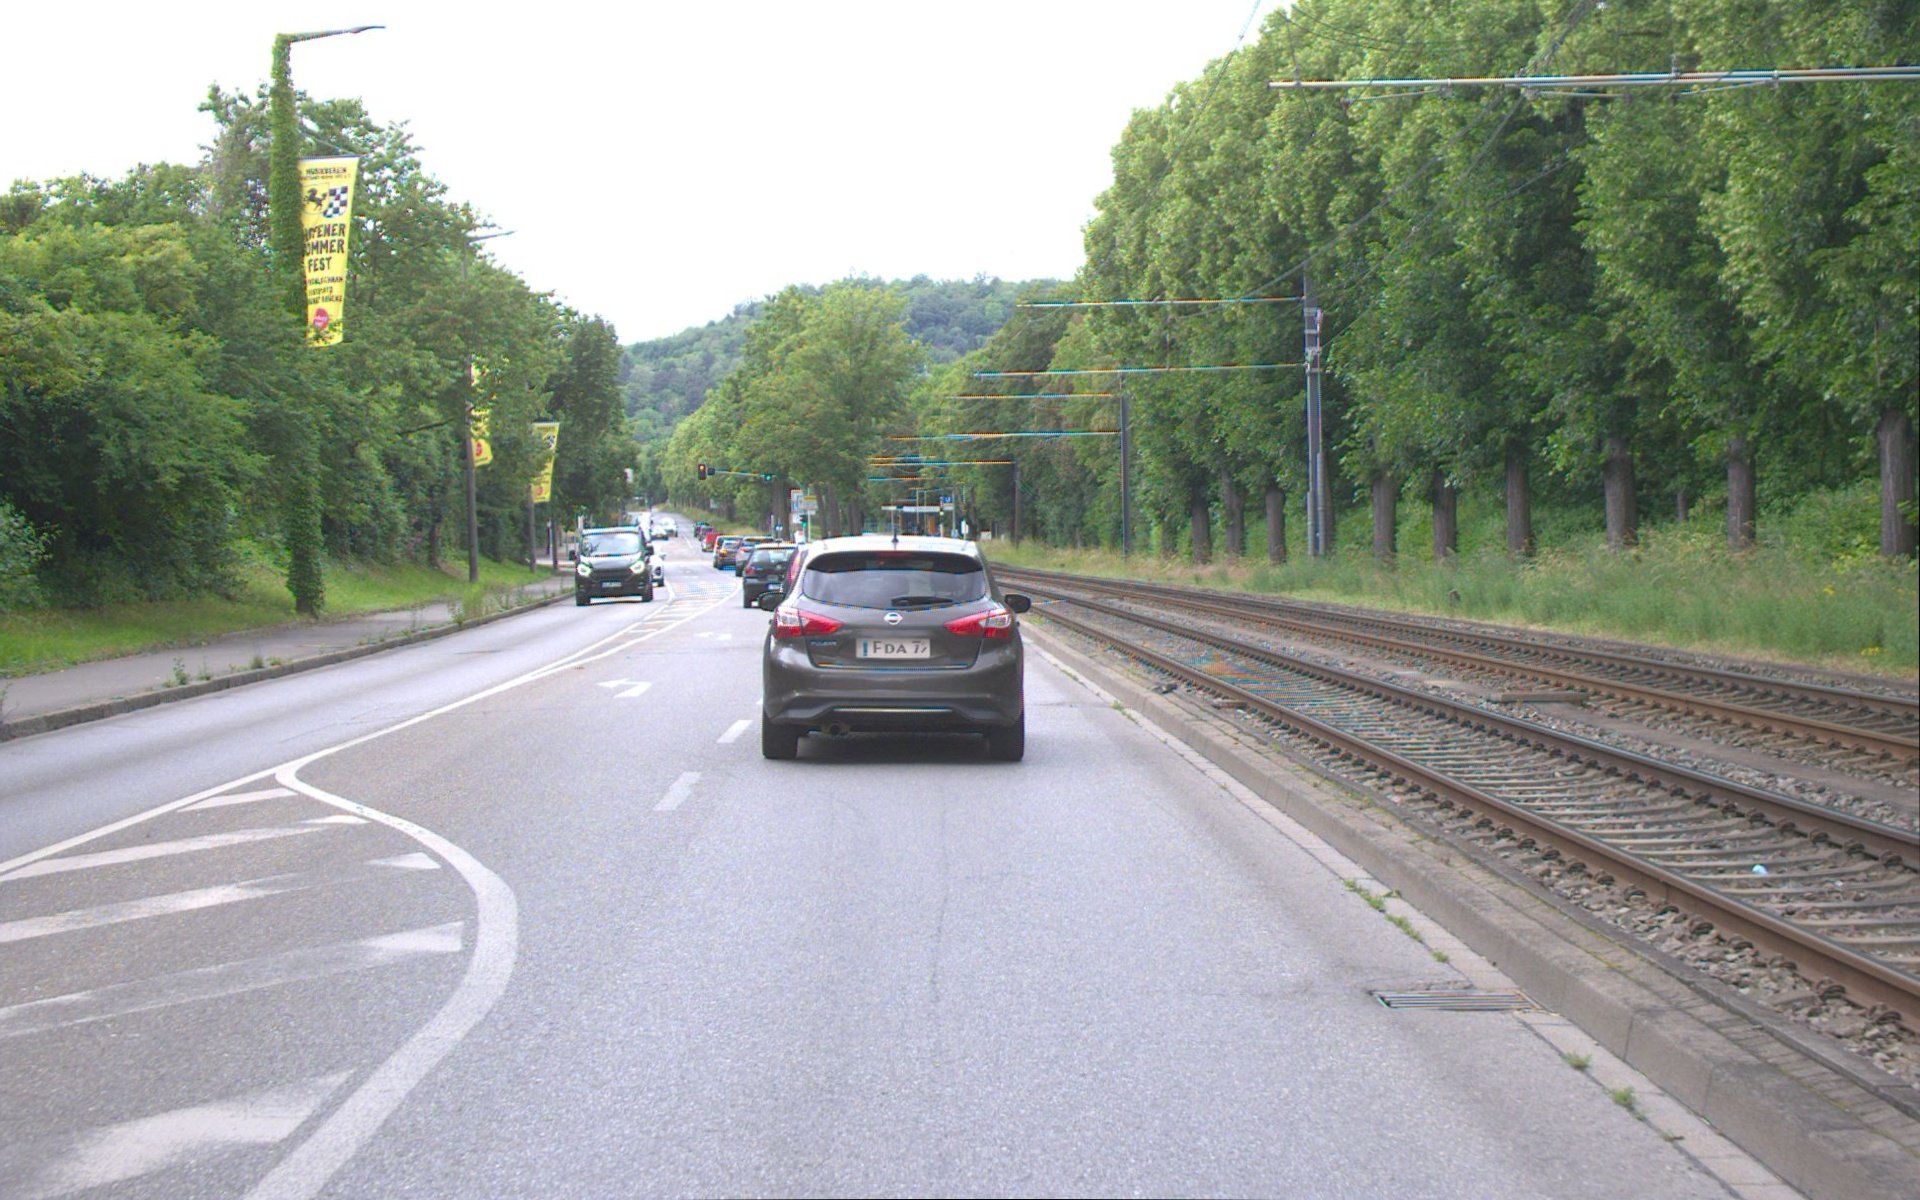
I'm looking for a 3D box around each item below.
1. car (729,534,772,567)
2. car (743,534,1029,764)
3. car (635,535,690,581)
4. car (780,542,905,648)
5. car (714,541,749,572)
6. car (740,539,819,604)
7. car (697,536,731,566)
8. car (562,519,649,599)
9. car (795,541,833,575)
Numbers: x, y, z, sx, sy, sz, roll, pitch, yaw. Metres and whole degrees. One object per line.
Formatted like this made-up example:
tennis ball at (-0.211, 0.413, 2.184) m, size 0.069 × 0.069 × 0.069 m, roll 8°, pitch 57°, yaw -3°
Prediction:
car at (-9.570, -2.276, 157.272) m, size 1.794 × 1.505 × 4.000 m, roll 0°, pitch 1°, yaw 0°
car at (-0.491, 0.294, 24.347) m, size 1.850 × 1.488 × 4.000 m, roll 0°, pitch 1°, yaw 0°
car at (-11.079, -1.582, 128.204) m, size 1.841 × 1.615 × 4.160 m, roll -2°, pitch 1°, yaw -3°
car at (-1.653, -0.100, 48.865) m, size 1.699 × 1.438 × 4.000 m, roll 0°, pitch 1°, yaw -2°
car at (-12.680, -2.422, 191.225) m, size 1.699 × 1.708 × 4.000 m, roll 0°, pitch 1°, yaw 0°
car at (-4.080, -0.664, 78.298) m, size 1.699 × 1.438 × 4.000 m, roll 0°, pitch 1°, yaw -2°
car at (-14.352, -2.855, 200.860) m, size 1.699 × 1.708 × 4.000 m, roll 0°, pitch 1°, yaw 0°
car at (-9.571, -1.128, 93.119) m, size 1.993 × 2.029 × 5.116 m, roll -2°, pitch 1°, yaw -3°
car at (-6.824, -1.949, 160.999) m, size 1.715 × 1.545 × 4.000 m, roll 0°, pitch 0°, yaw -2°
